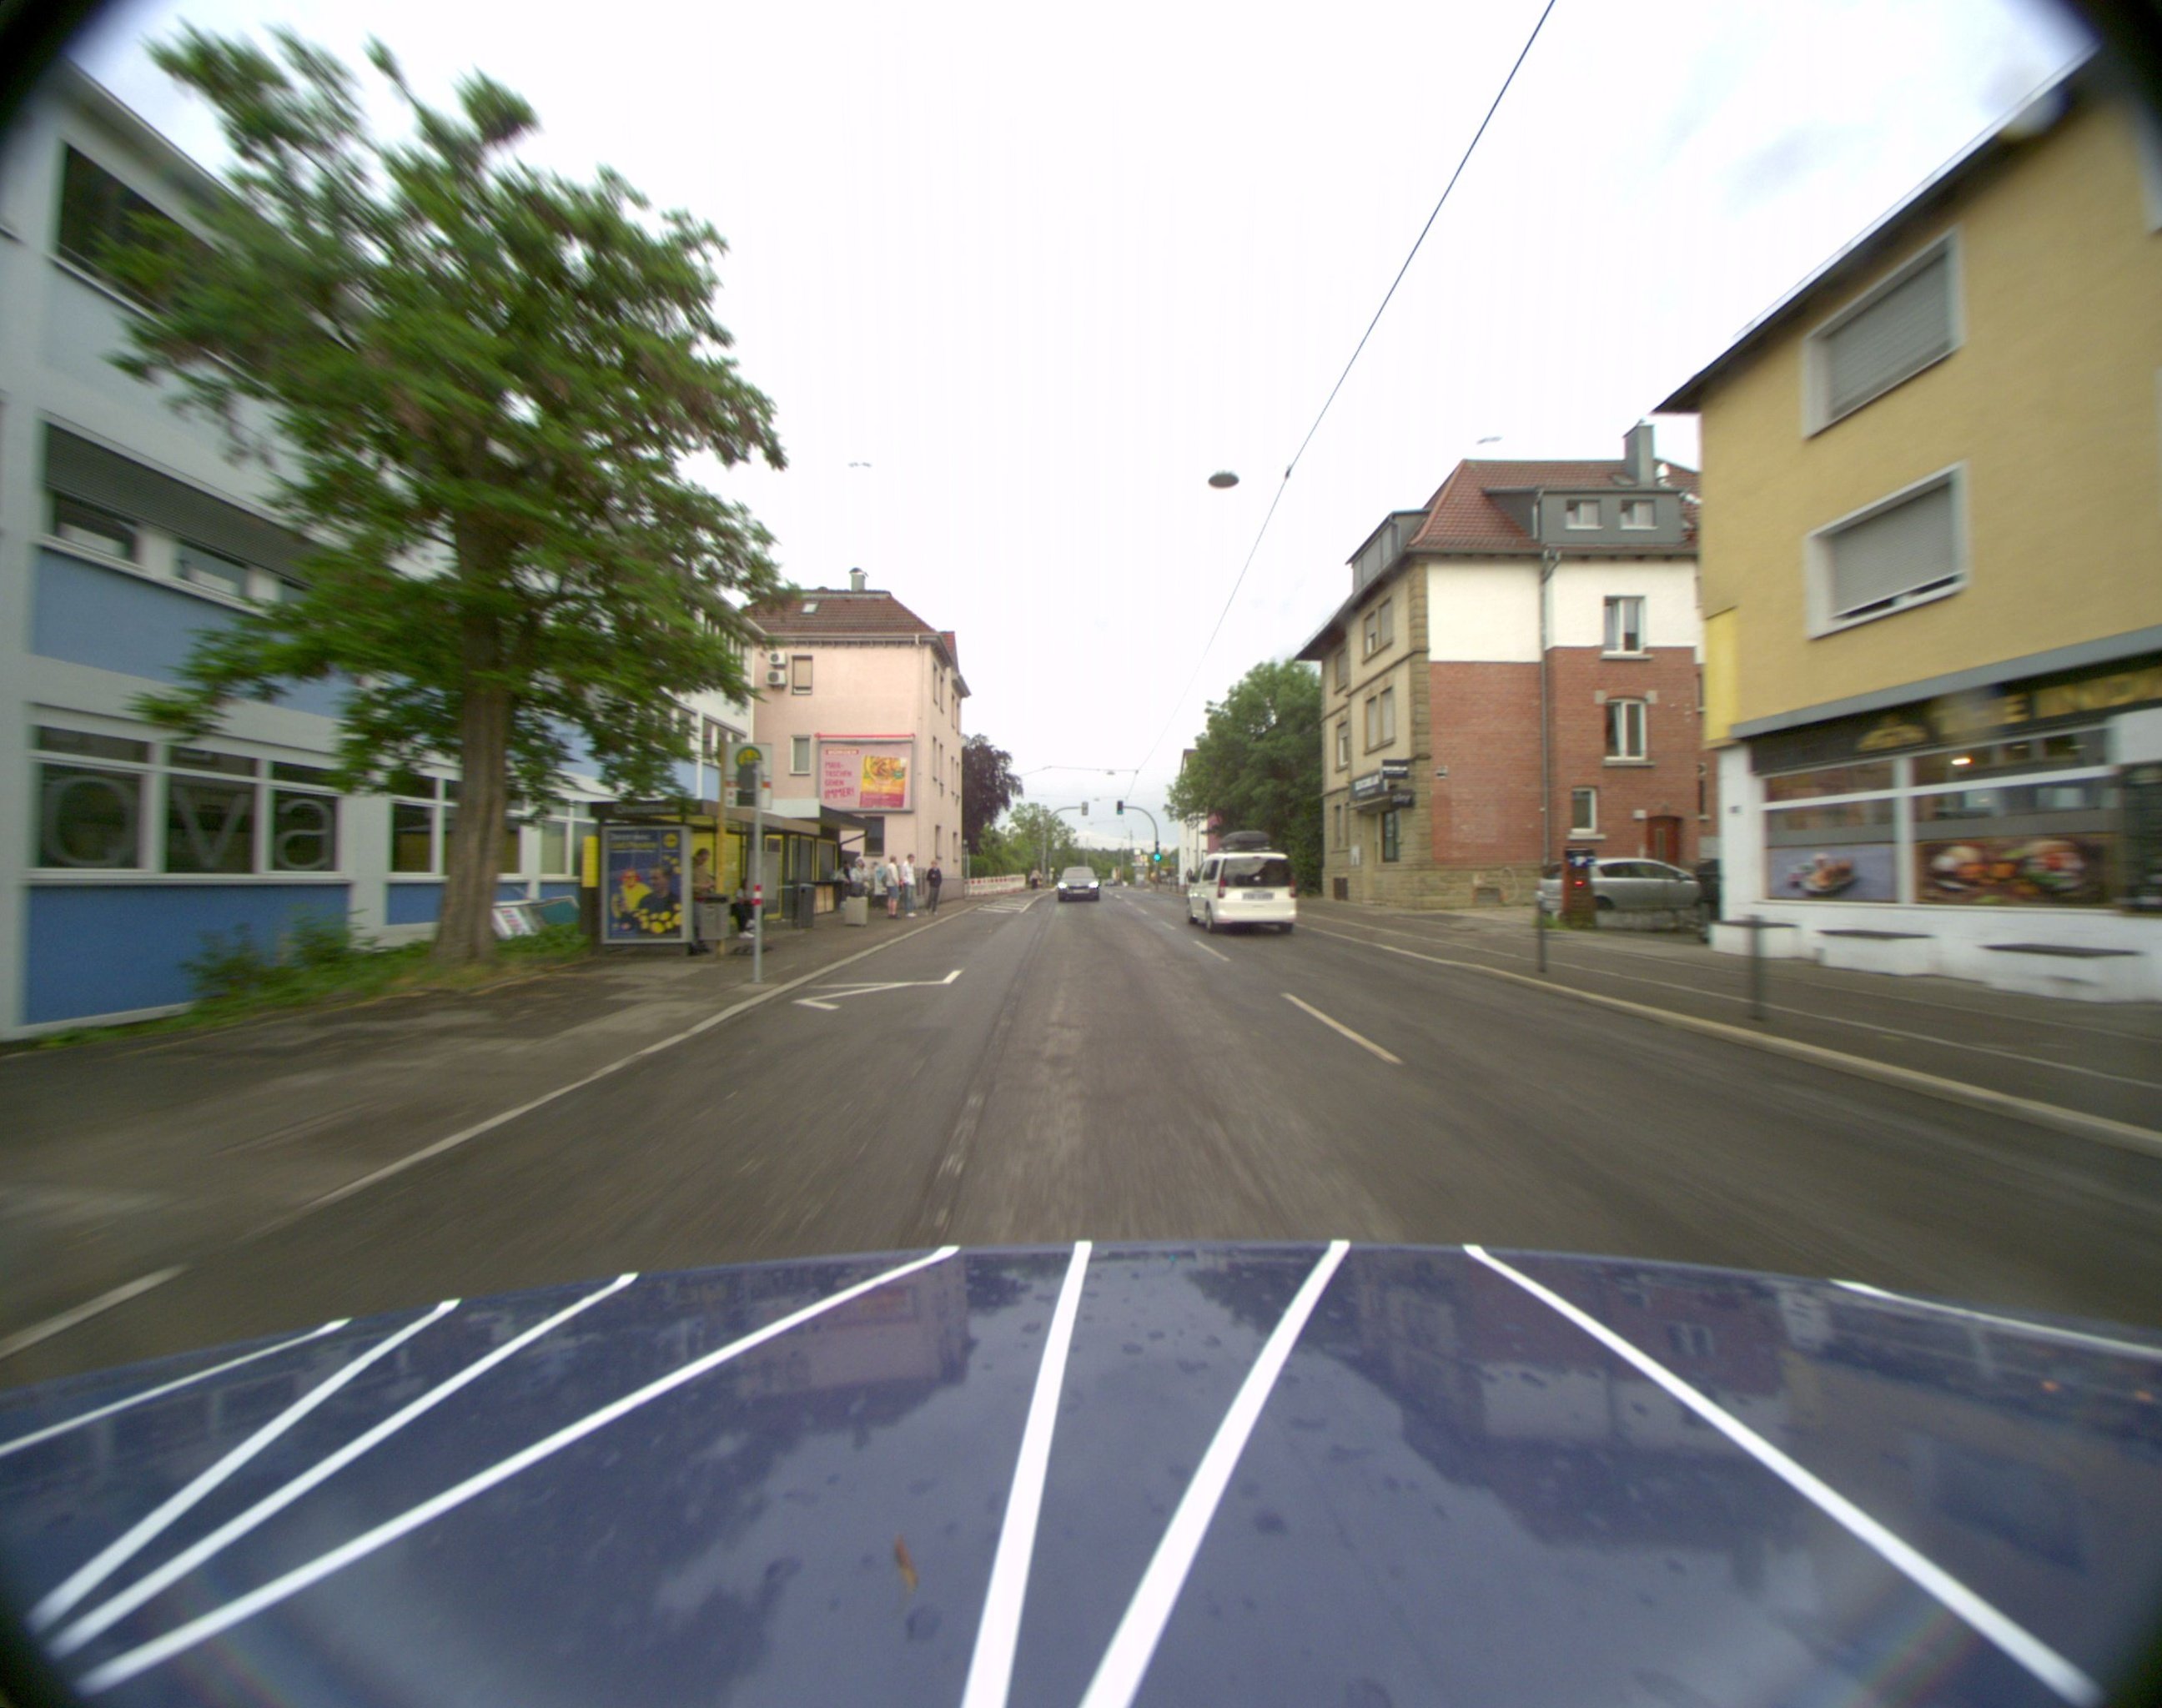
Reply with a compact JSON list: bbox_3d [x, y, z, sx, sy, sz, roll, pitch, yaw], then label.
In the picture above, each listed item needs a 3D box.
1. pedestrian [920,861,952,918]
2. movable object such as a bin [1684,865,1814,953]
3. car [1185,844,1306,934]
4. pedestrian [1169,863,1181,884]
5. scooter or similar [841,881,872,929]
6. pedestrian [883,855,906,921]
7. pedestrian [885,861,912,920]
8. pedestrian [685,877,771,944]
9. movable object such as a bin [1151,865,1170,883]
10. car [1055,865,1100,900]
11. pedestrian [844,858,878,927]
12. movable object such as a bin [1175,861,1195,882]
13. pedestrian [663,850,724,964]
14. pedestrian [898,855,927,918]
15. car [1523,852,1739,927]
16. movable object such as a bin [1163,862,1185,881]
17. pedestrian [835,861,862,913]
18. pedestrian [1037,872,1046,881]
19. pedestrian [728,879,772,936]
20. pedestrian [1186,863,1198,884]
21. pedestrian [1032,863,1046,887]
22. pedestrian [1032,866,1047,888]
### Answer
[{"bbox_3d":[-4.471,1.076,23.418,0.638,1.700,0.747,2,0,-34],"label":"pedestrian"},{"bbox_3d":[11.205,0.895,12.791,1.305,1.394,0.983,-1,0,0],"label":"movable object such as a bin"},{"bbox_3d":[3.691,0.709,17.889,1.886,1.859,4.453,0,0,0],"label":"car"},{"bbox_3d":[8.314,1.747,67.386,0.864,1.871,1.044,0,-2,-2],"label":"pedestrian"},{"bbox_3d":[-5.517,1.248,18.688,0.619,1.133,0.567,1,0,-5],"label":"scooter or similar"},{"bbox_3d":[-5.284,0.942,21.540,0.460,1.830,0.604,2,0,-5],"label":"pedestrian"},{"bbox_3d":[-5.361,1.052,22.322,0.446,1.698,0.558,2,0,21],"label":"pedestrian"},{"bbox_3d":[-6.989,1.117,15.094,1.359,1.266,0.741,1,0,-5],"label":"pedestrian"},{"bbox_3d":[14.523,3.641,138.875,2.828,3.093,4.640,-1,-3,12],"label":"movable object such as a bin"},{"bbox_3d":[-0.100,1.279,33.590,1.837,1.429,4.002,-1,-2,2],"label":"car"},{"bbox_3d":[-5.595,0.966,19.358,0.662,1.731,0.829,1,0,-5],"label":"pedestrian"},{"bbox_3d":[14.656,2.499,106.914,2.132,2.789,4.986,-3,-3,14],"label":"movable object such as a bin"},{"bbox_3d":[-6.370,0.851,12.533,0.648,1.820,0.741,1,0,-5],"label":"pedestrian"},{"bbox_3d":[-5.072,0.979,22.901,0.486,1.864,0.634,2,0,27],"label":"pedestrian"},{"bbox_3d":[12.661,0.790,17.662,3.574,1.477,1.947,-2,0,-2],"label":"car"},{"bbox_3d":[19.013,3.630,155.293,2.952,3.819,8.141,-1,-2,18],"label":"movable object such as a bin"},{"bbox_3d":[-7.419,1.041,24.242,0.676,1.616,0.623,2,0,-29],"label":"pedestrian"},{"bbox_3d":[-5.842,3.353,111.633,1.070,1.321,0.808,1,-1,-32],"label":"pedestrian"},{"bbox_3d":[-7.227,1.156,16.628,0.662,1.192,0.741,1,0,-5],"label":"pedestrian"},{"bbox_3d":[9.700,1.713,66.419,0.808,1.810,1.116,-1,-2,-1],"label":"pedestrian"},{"bbox_3d":[-2.860,1.411,51.564,0.785,1.632,1.222,-2,0,4],"label":"pedestrian"},{"bbox_3d":[-2.948,1.645,53.999,0.877,1.551,1.049,-2,0,3],"label":"pedestrian"}]
